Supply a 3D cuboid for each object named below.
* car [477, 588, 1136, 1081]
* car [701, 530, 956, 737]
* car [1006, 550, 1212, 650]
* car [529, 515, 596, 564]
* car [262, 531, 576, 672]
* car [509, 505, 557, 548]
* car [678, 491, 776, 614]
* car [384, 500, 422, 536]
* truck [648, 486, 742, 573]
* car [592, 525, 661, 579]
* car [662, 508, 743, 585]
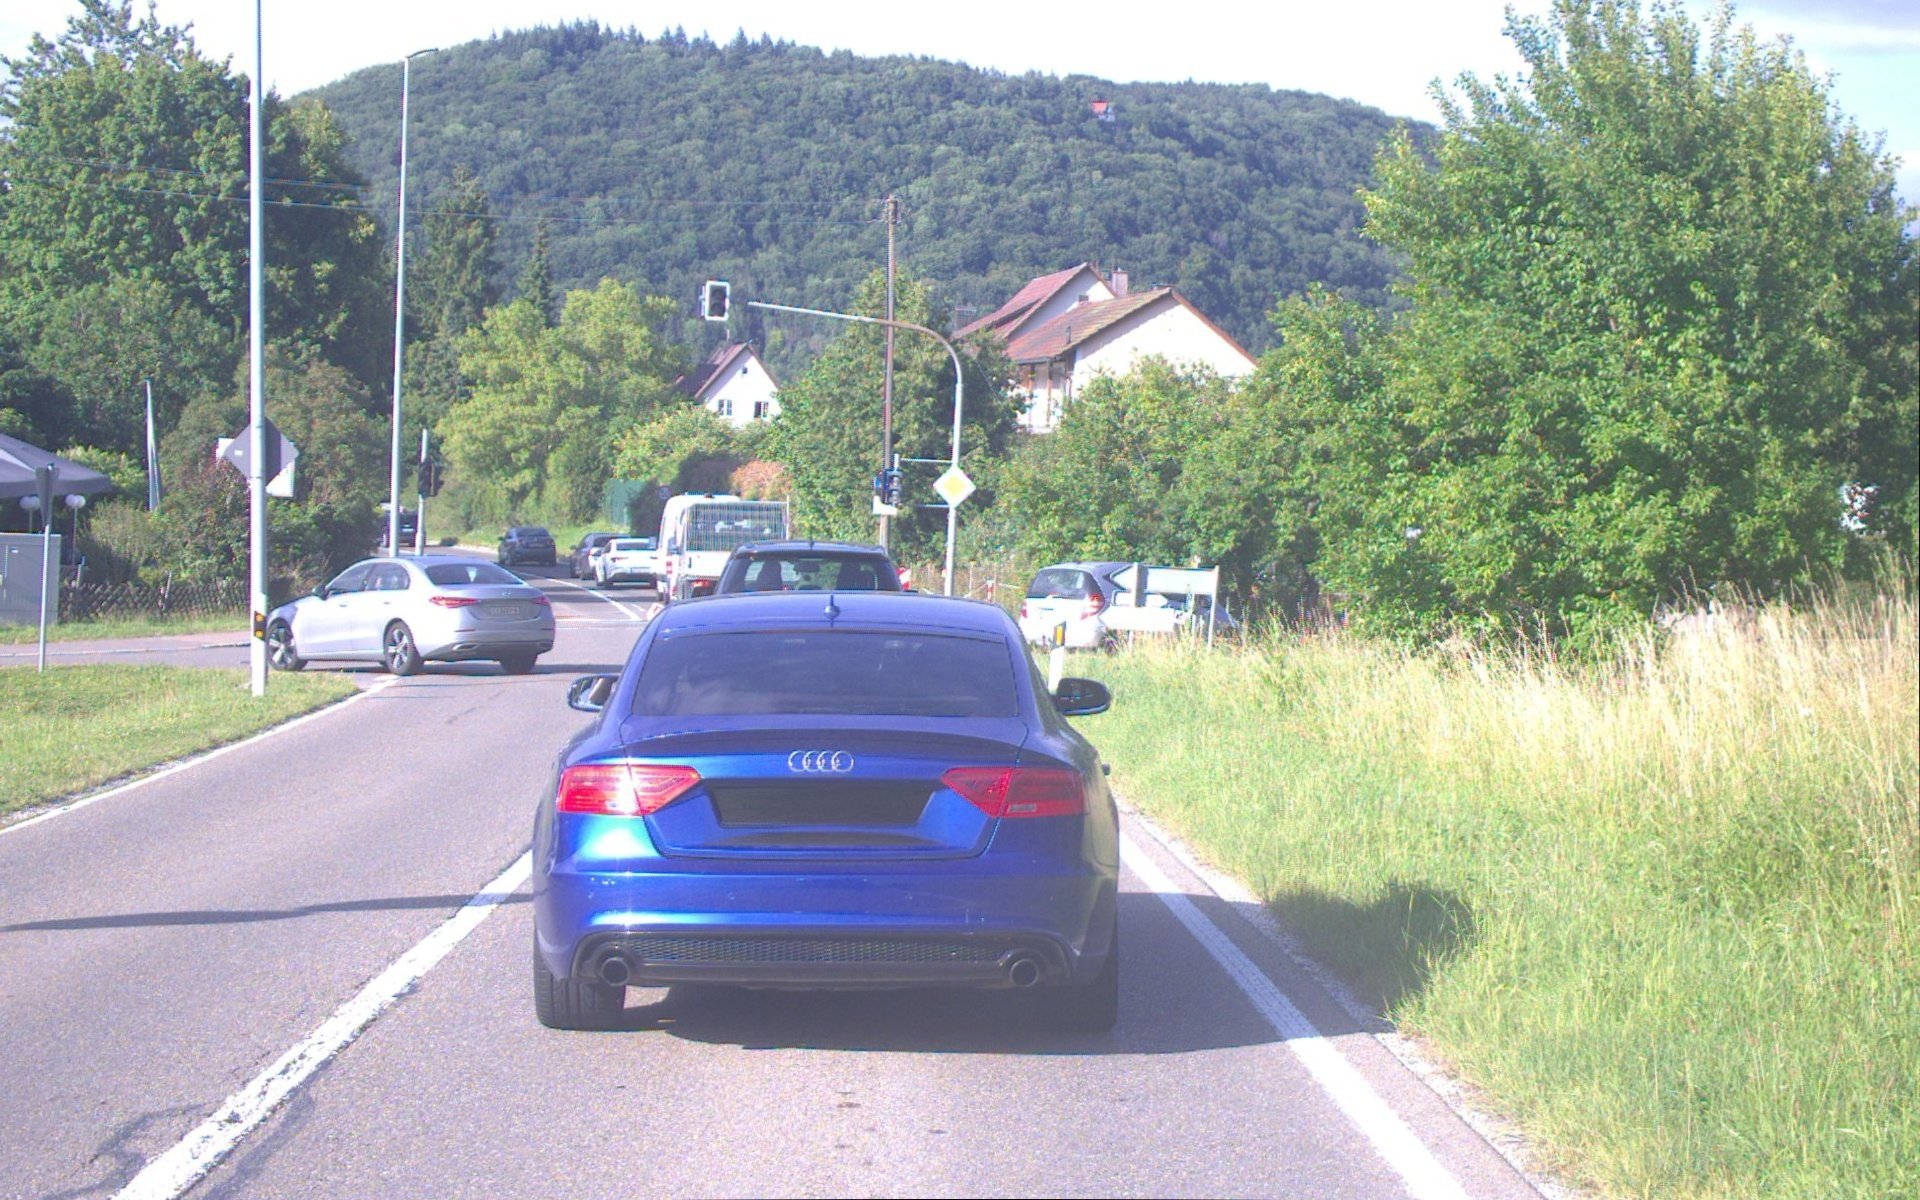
[{"bbox_3d":[-0.341,0.657,11.747,1.795,1.383,3.999,0,0,4],"label":"car"},{"bbox_3d":[-1.062,0.266,29.677,1.746,1.634,3.999,1,0,4],"label":"car"},{"bbox_3d":[2.328,0.006,52.953,1.627,1.472,3.725,1,0,30],"label":"car"},{"bbox_3d":[-12.501,-1.892,108.005,1.697,1.485,3.528,1,0,-13],"label":"car"},{"bbox_3d":[-6.718,-0.003,42.319,1.805,1.634,4.462,1,0,-39],"label":"car"},{"bbox_3d":[-15.816,-2.710,127.270,1.697,1.485,3.527,1,0,-7],"label":"car"},{"bbox_3d":[-4.379,-0.873,64.416,1.746,2.188,4.001,1,0,-4],"label":"car"},{"bbox_3d":[-25.631,-3.762,158.186,1.625,1.571,3.680,1,0,-10],"label":"car"},{"bbox_3d":[-6.378,-1.646,82.339,1.697,1.947,5.924,1,0,-9],"label":"truck"},{"bbox_3d":[-9.571,-1.355,98.571,1.697,1.485,3.528,1,0,-9],"label":"car"},{"bbox_3d":[-5.763,-1.174,76.915,1.746,1.634,4.001,1,0,-4],"label":"car"}]
